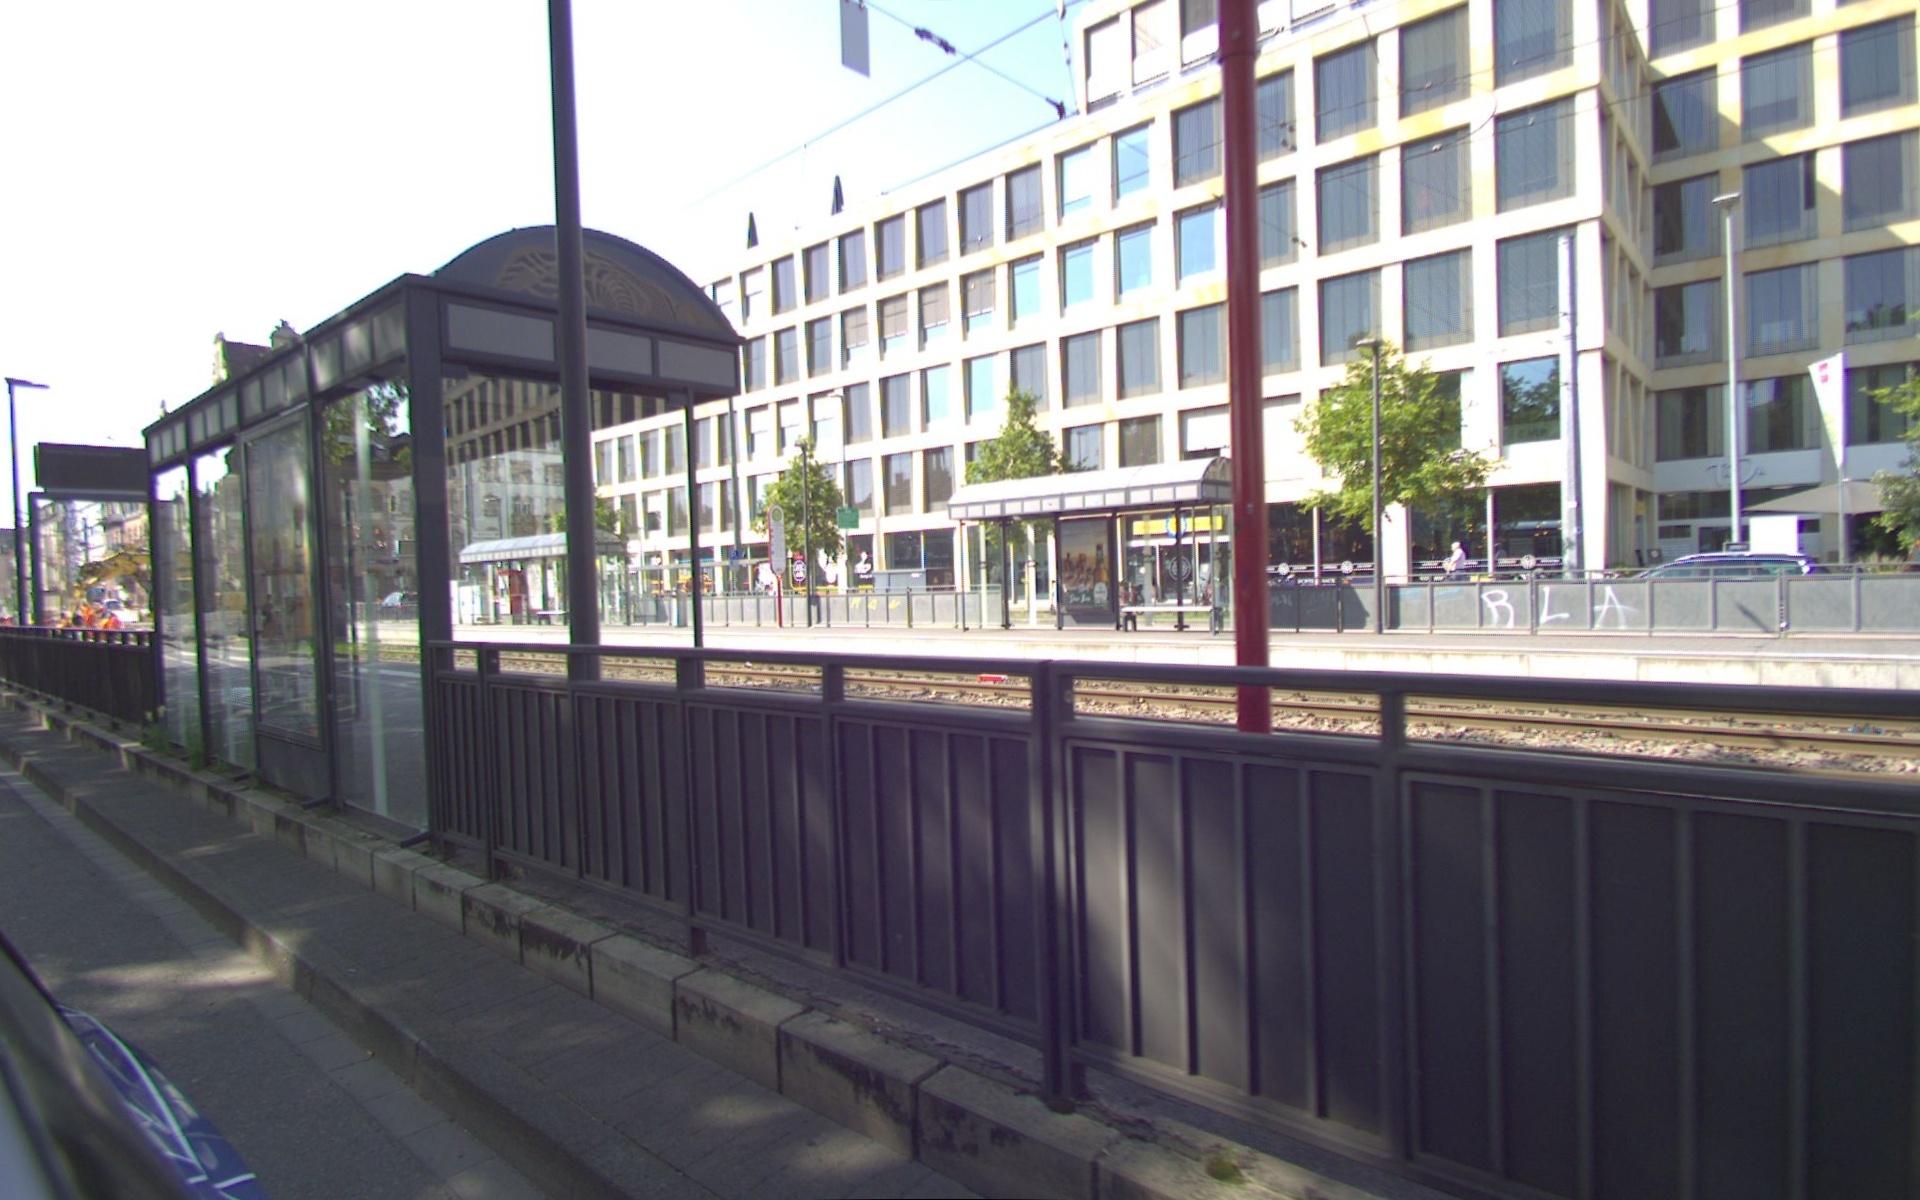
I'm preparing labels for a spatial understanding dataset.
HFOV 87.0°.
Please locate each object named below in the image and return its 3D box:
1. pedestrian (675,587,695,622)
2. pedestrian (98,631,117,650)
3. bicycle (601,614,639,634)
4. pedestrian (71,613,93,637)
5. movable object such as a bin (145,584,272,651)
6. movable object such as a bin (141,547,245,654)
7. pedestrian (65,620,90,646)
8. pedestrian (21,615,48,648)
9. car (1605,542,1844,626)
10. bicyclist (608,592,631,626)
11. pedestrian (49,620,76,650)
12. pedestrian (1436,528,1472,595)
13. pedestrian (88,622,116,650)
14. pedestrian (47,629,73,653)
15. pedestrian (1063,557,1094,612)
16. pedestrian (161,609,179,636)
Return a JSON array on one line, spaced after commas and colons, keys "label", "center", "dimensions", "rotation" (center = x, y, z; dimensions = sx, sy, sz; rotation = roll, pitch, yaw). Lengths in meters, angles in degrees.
[{"label": "pedestrian", "center": [-15.716, 0.261, 57.883], "dimensions": [0.690, 2.029, 0.843], "rotation": [0, -1, 41]}, {"label": "pedestrian", "center": [-57.548, 2.730, 68.324], "dimensions": [0.864, 1.192, 0.723], "rotation": [0, -1, 34]}, {"label": "bicycle", "center": [-14.327, 1.000, 42.582], "dimensions": [1.896, 0.828, 0.622], "rotation": [0, -1, 41]}, {"label": "pedestrian", "center": [-58.098, 1.649, 66.982], "dimensions": [0.727, 1.568, 0.753], "rotation": [-2, 0, -1]}, {"label": "movable object such as a bin", "center": [-39.194, 0.878, 52.867], "dimensions": [3.549, 3.247, 4.090], "rotation": [-2, 0, 26]}, {"label": "movable object such as a bin", "center": [-34.519, 0.023, 45.515], "dimensions": [4.212, 4.588, 2.954], "rotation": [-2, 0, 43]}, {"label": "pedestrian", "center": [-41.478, 1.547, 47.559], "dimensions": [0.691, 1.186, 0.704], "rotation": [-2, 0, -28]}, {"label": "pedestrian", "center": [-42.837, 1.464, 46.853], "dimensions": [0.730, 1.490, 0.705], "rotation": [-2, 0, -27]}, {"label": "car", "center": [14.472, -0.272, 19.303], "dimensions": [3.501, 1.439, 1.538], "rotation": [-1, 1, 39]}, {"label": "bicyclist", "center": [-14.335, 0.374, 42.606], "dimensions": [0.784, 1.413, 0.622], "rotation": [0, -1, 41]}, {"label": "pedestrian", "center": [-41.126, 1.604, 46.387], "dimensions": [0.691, 1.345, 0.839], "rotation": [-2, 0, -28]}, {"label": "pedestrian", "center": [14.566, -1.126, 29.812], "dimensions": [0.836, 1.931, 0.786], "rotation": [0, -1, 35]}, {"label": "pedestrian", "center": [-37.024, 1.551, 43.672], "dimensions": [0.692, 1.163, 0.589], "rotation": [-2, 0, -9]}, {"label": "pedestrian", "center": [-37.310, 1.703, 41.945], "dimensions": [0.881, 0.962, 0.693], "rotation": [-2, 1, 42]}, {"label": "pedestrian", "center": [4.482, -0.586, 38.255], "dimensions": [0.822, 2.029, 0.758], "rotation": [-1, 1, 45]}, {"label": "pedestrian", "center": [-51.205, 1.477, 65.601], "dimensions": [0.729, 1.715, 0.761], "rotation": [-2, 0, -30]}]
